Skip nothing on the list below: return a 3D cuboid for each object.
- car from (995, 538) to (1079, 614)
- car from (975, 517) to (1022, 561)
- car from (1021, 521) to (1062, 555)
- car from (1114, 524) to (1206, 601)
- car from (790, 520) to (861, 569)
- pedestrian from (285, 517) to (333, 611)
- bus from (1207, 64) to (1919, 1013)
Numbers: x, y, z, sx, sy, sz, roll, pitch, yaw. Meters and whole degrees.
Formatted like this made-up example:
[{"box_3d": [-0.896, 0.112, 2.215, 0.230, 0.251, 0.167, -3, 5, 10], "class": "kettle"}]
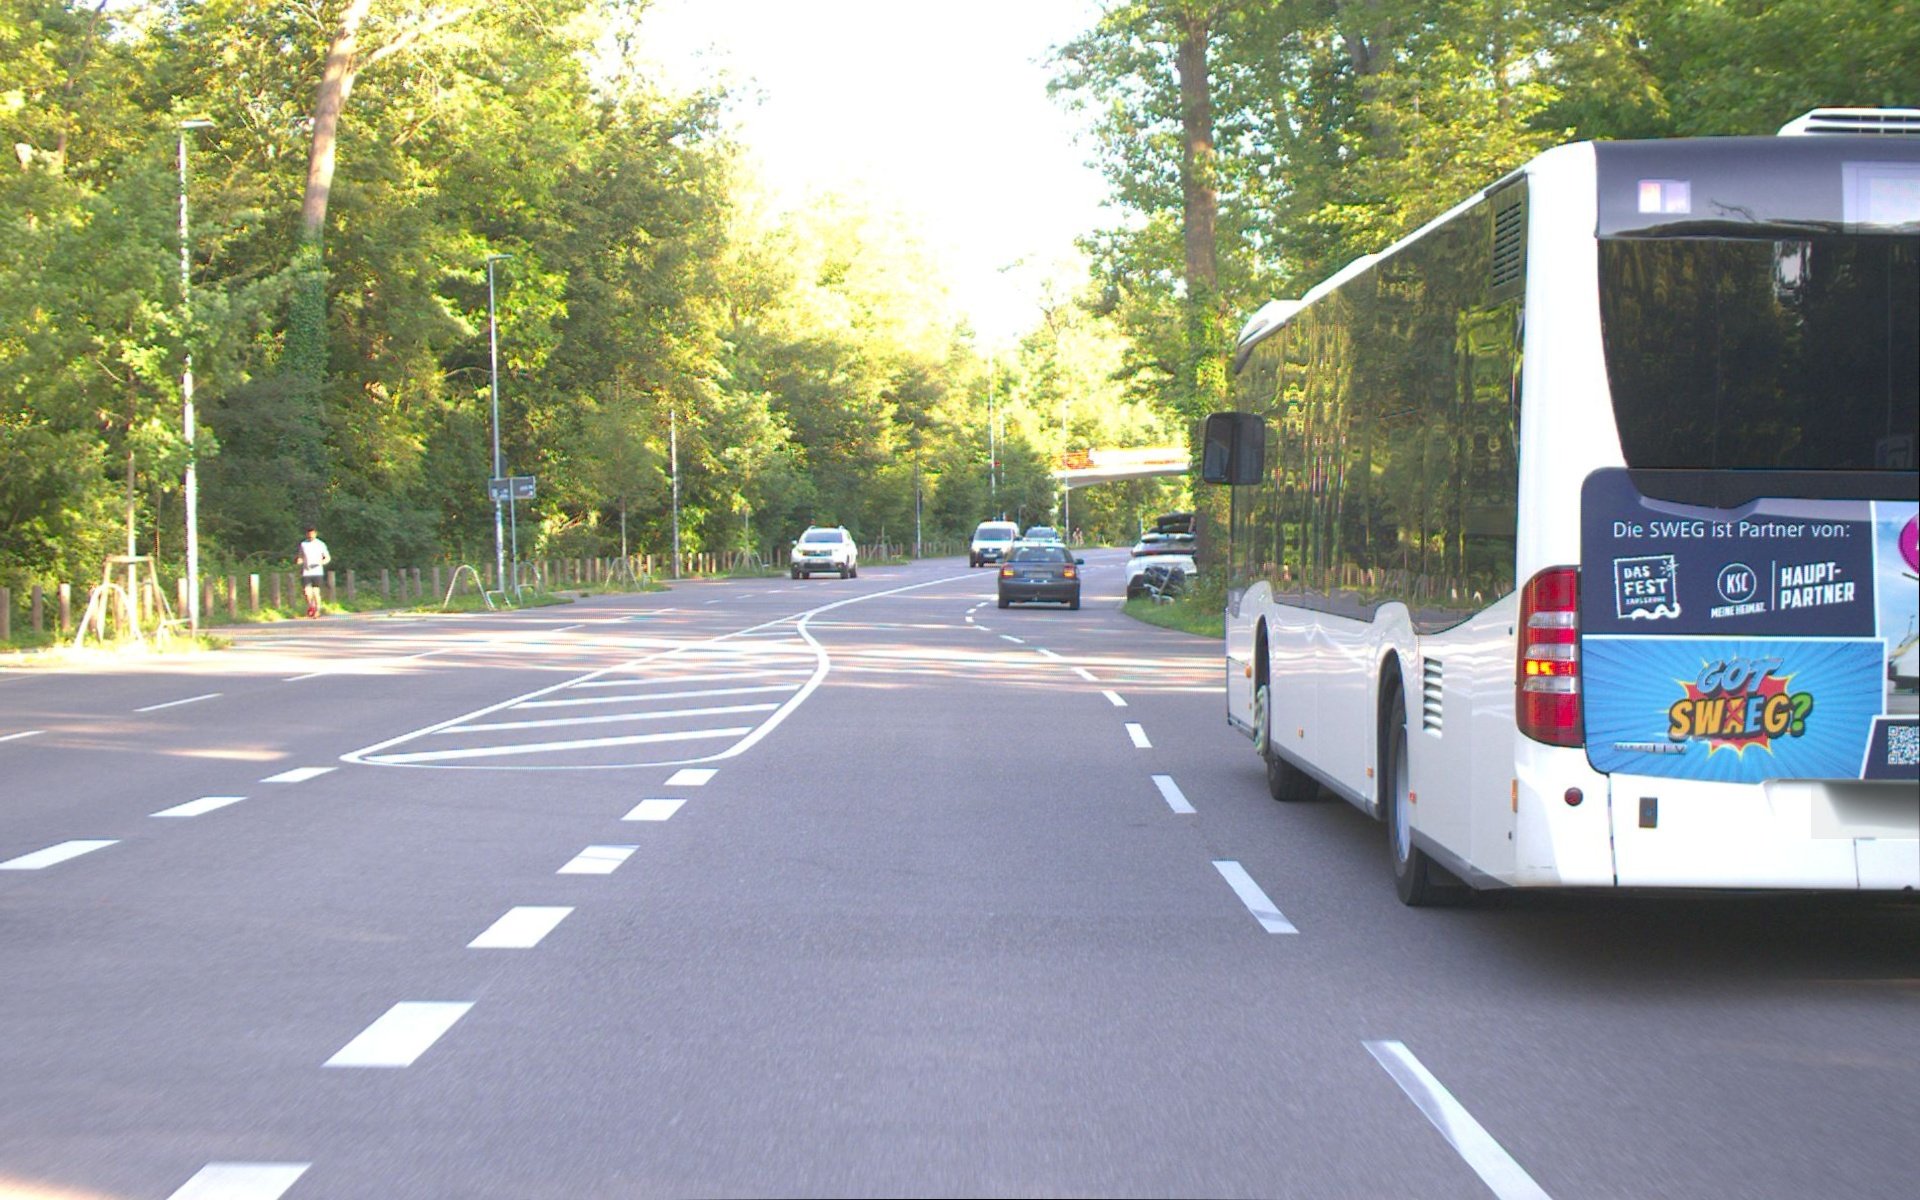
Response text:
[{"box_3d": [1.647, -0.515, 72.563, 1.632, 1.542, 4.131, 0, 1, 3], "class": "car"}, {"box_3d": [1.523, -2.420, 137.353, 1.863, 1.723, 4.000, 0, 1, 0], "class": "car"}, {"box_3d": [3.823, -2.900, 161.758, 1.863, 1.560, 4.000, -1, 1, 1], "class": "car"}, {"box_3d": [4.435, -0.823, 75.927, 1.632, 1.653, 4.130, 0, 1, 9], "class": "car"}, {"box_3d": [-4.276, -1.761, 110.044, 1.863, 1.532, 4.131, 0, 1, 3], "class": "car"}, {"box_3d": [-12.499, -0.694, 66.015, 0.779, 1.806, 0.770, 0, 1, -1], "class": "pedestrian"}, {"box_3d": [3.031, -0.256, 17.022, 2.689, 3.032, 12.041, 0, 1, 0], "class": "bus"}]
